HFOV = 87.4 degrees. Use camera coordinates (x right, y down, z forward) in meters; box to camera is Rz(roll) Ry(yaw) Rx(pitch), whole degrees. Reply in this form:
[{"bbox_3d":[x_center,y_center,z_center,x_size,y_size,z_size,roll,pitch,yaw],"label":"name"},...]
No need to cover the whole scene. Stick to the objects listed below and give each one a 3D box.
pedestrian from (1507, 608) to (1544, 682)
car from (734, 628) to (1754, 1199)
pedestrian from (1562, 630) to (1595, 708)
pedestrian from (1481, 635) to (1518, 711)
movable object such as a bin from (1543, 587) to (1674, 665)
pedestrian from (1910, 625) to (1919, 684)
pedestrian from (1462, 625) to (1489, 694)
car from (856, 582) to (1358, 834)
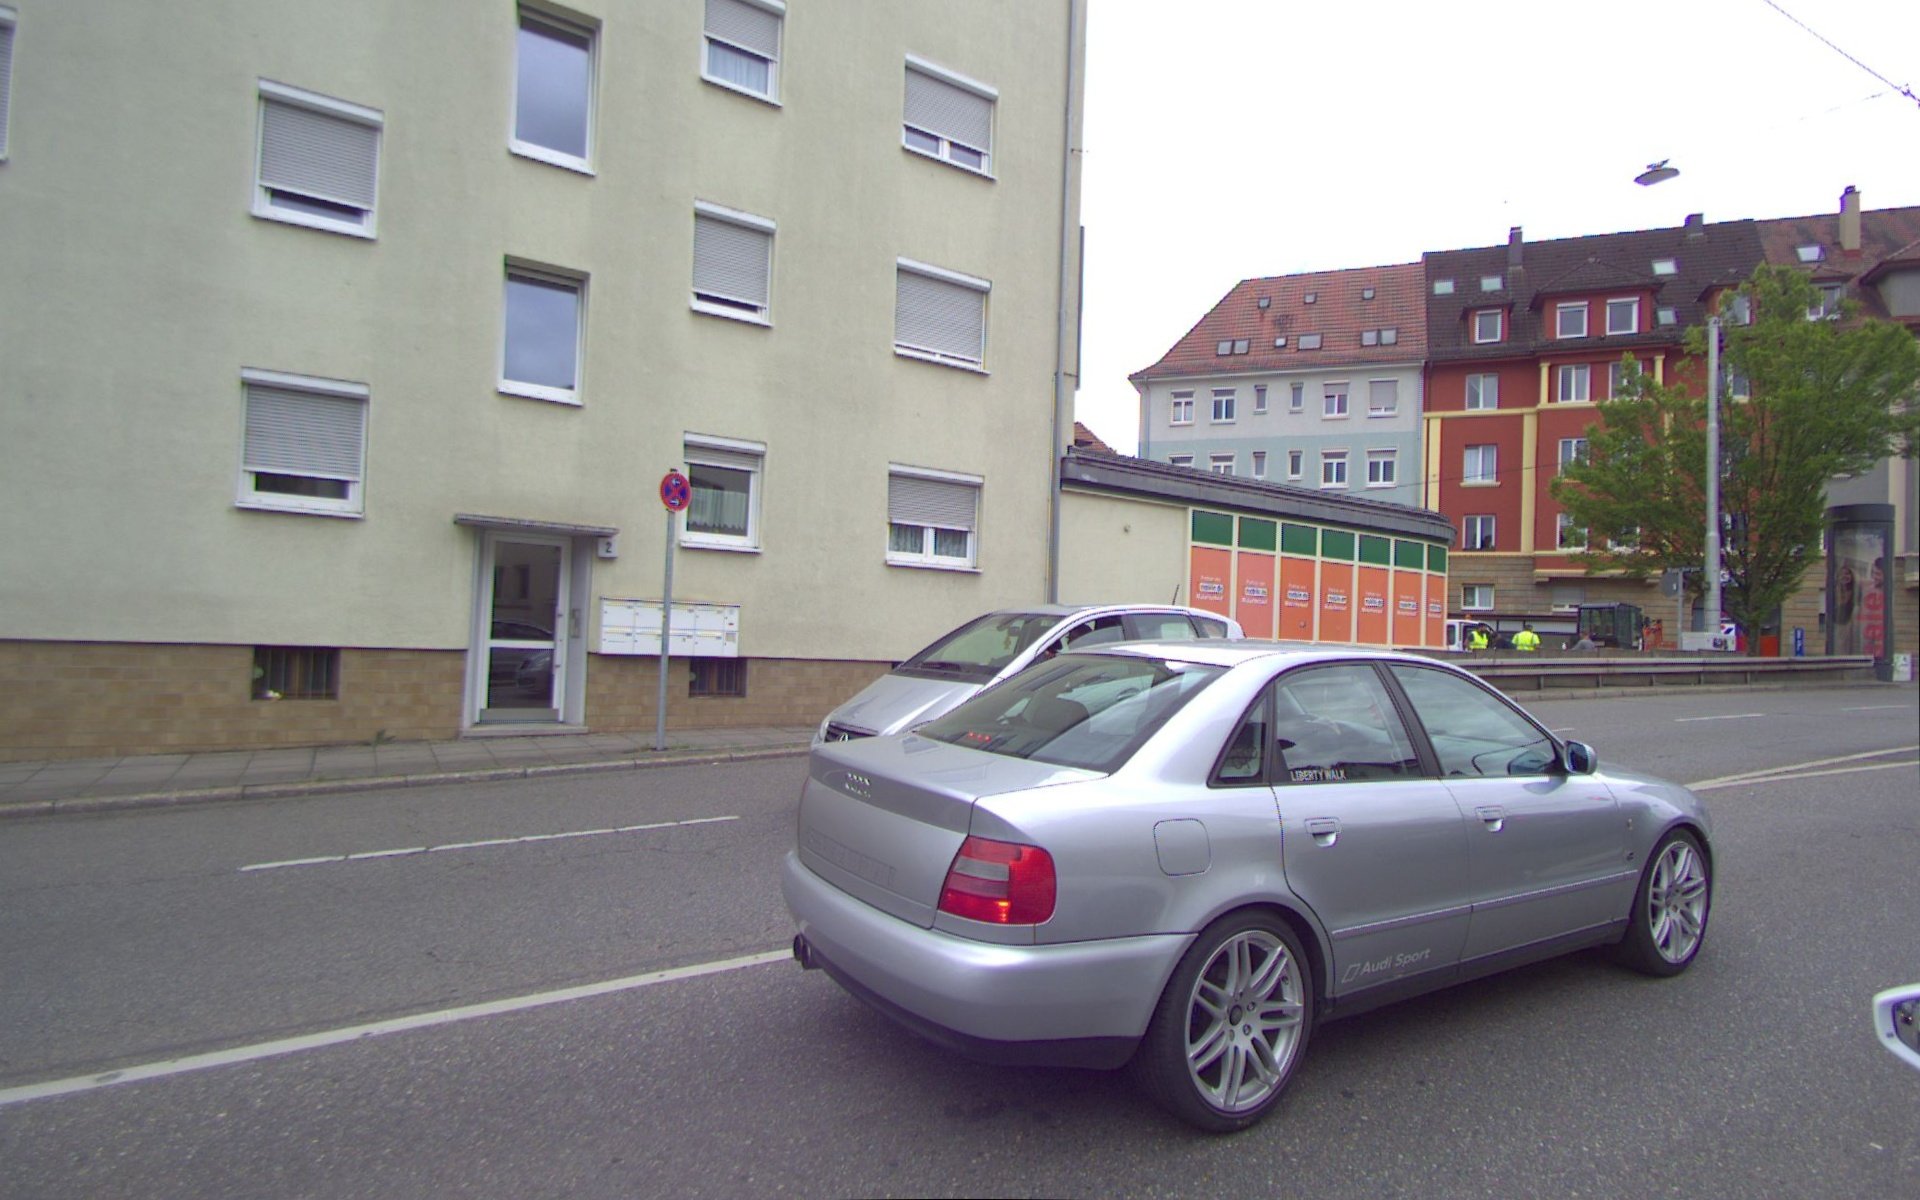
[{"bbox_3d":[14.080,1.107,25.015,0.613,1.785,0.566,1,1,-40],"label":"pedestrian"},{"bbox_3d":[1.343,0.847,4.119,4.130,1.391,1.687,0,0,-31],"label":"car"},{"bbox_3d":[14.375,1.590,23.358,0.533,1.753,0.593,3,1,26],"label":"pedestrian"},{"bbox_3d":[12.676,1.711,23.596,0.539,1.722,0.557,1,1,-41],"label":"pedestrian"},{"bbox_3d":[16.610,0.646,25.647,3.972,1.795,1.884,2,1,-43],"label":"movable object such as a bin"},{"bbox_3d":[26.096,1.488,27.044,0.480,1.588,0.586,2,1,-30],"label":"pedestrian"},{"bbox_3d":[13.472,1.534,26.263,0.467,1.753,0.543,2,1,14],"label":"pedestrian"},{"bbox_3d":[1.299,0.755,8.324,3.955,1.639,1.700,2,-1,-32],"label":"car"}]
